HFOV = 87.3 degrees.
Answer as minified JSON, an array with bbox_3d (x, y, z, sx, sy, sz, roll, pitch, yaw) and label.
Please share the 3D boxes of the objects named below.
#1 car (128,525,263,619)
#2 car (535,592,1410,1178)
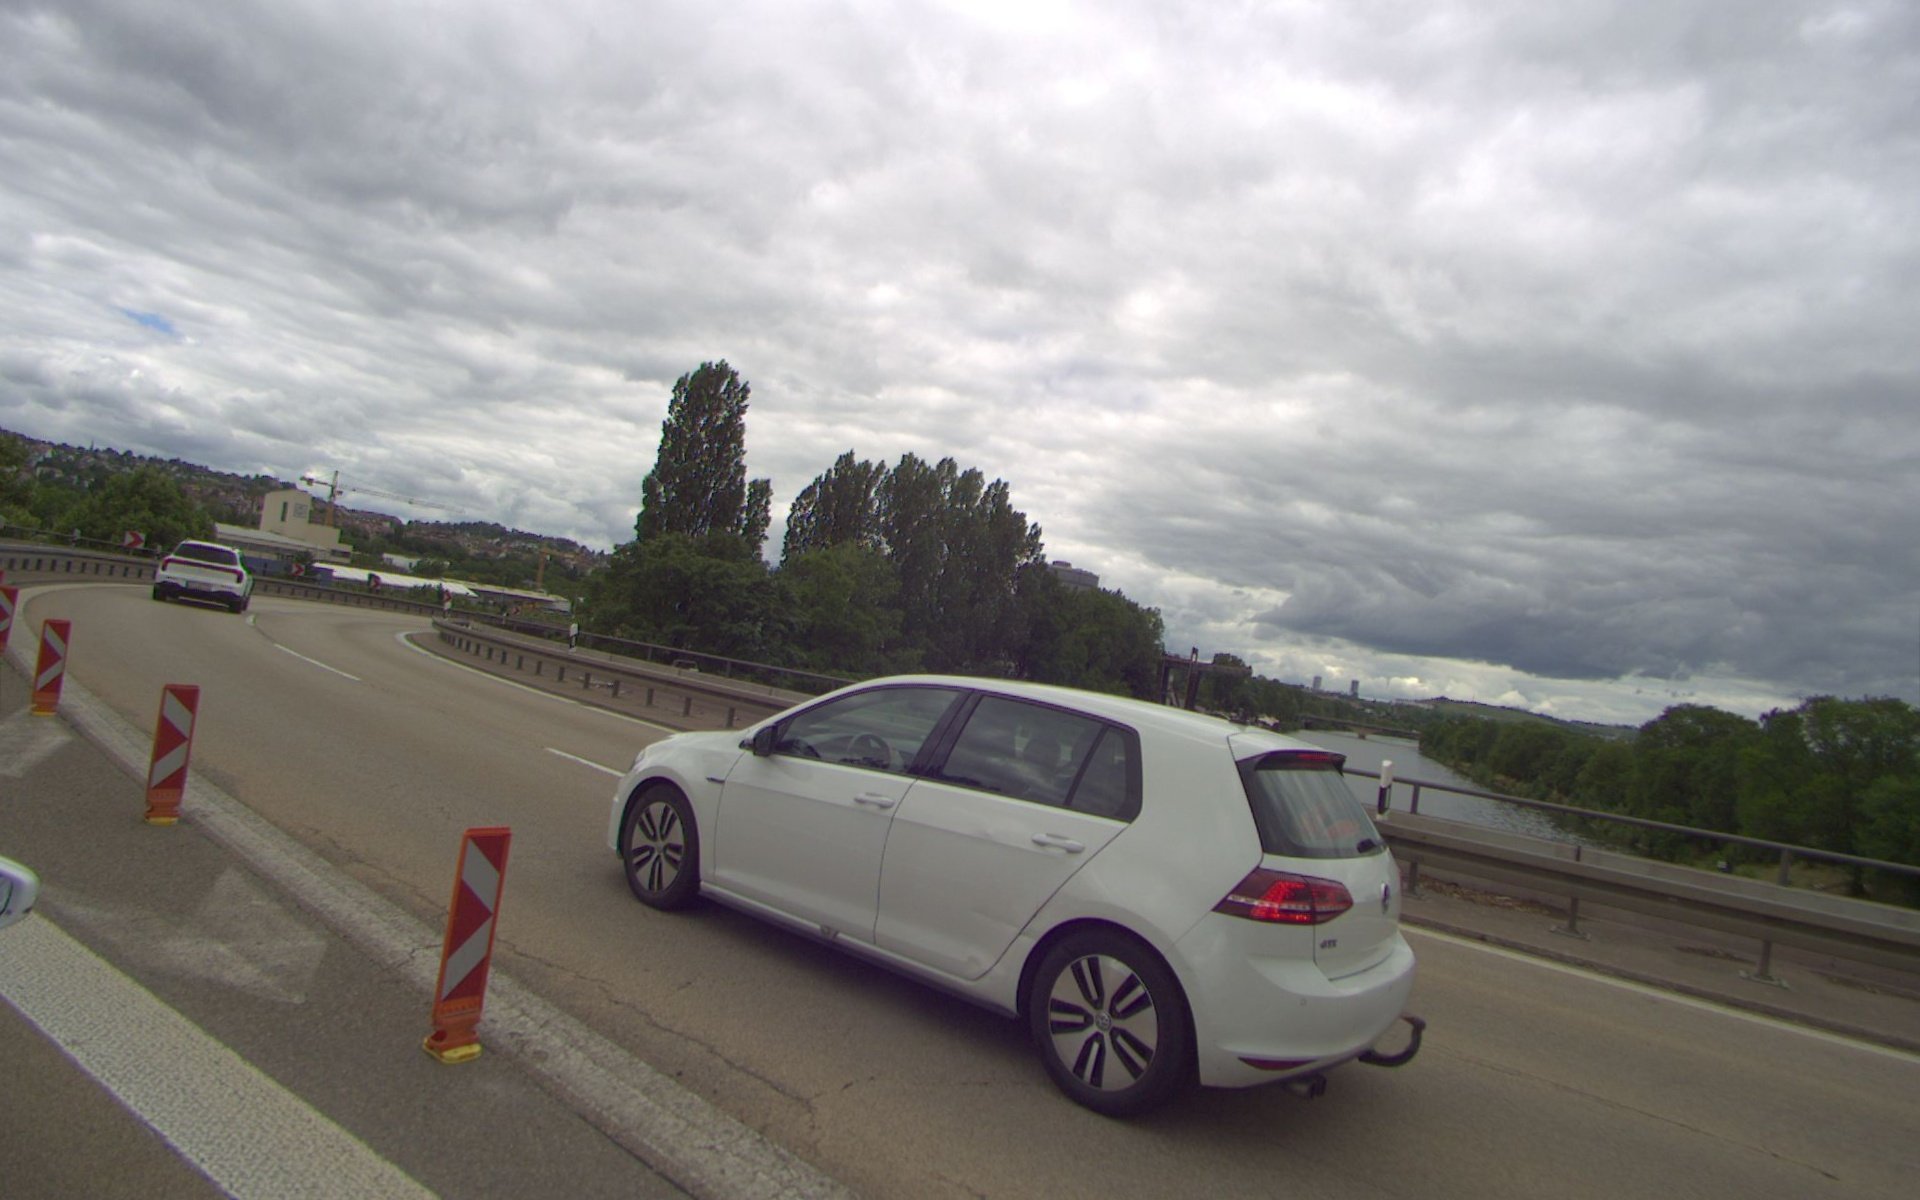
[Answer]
[{"bbox_3d":[-20.212,-0.773,26.544,4.058,1.802,1.926,7,-7,43],"label":"car"},{"bbox_3d":[-0.168,0.996,5.055,4.012,1.467,1.756,7,-4,39],"label":"car"}]
